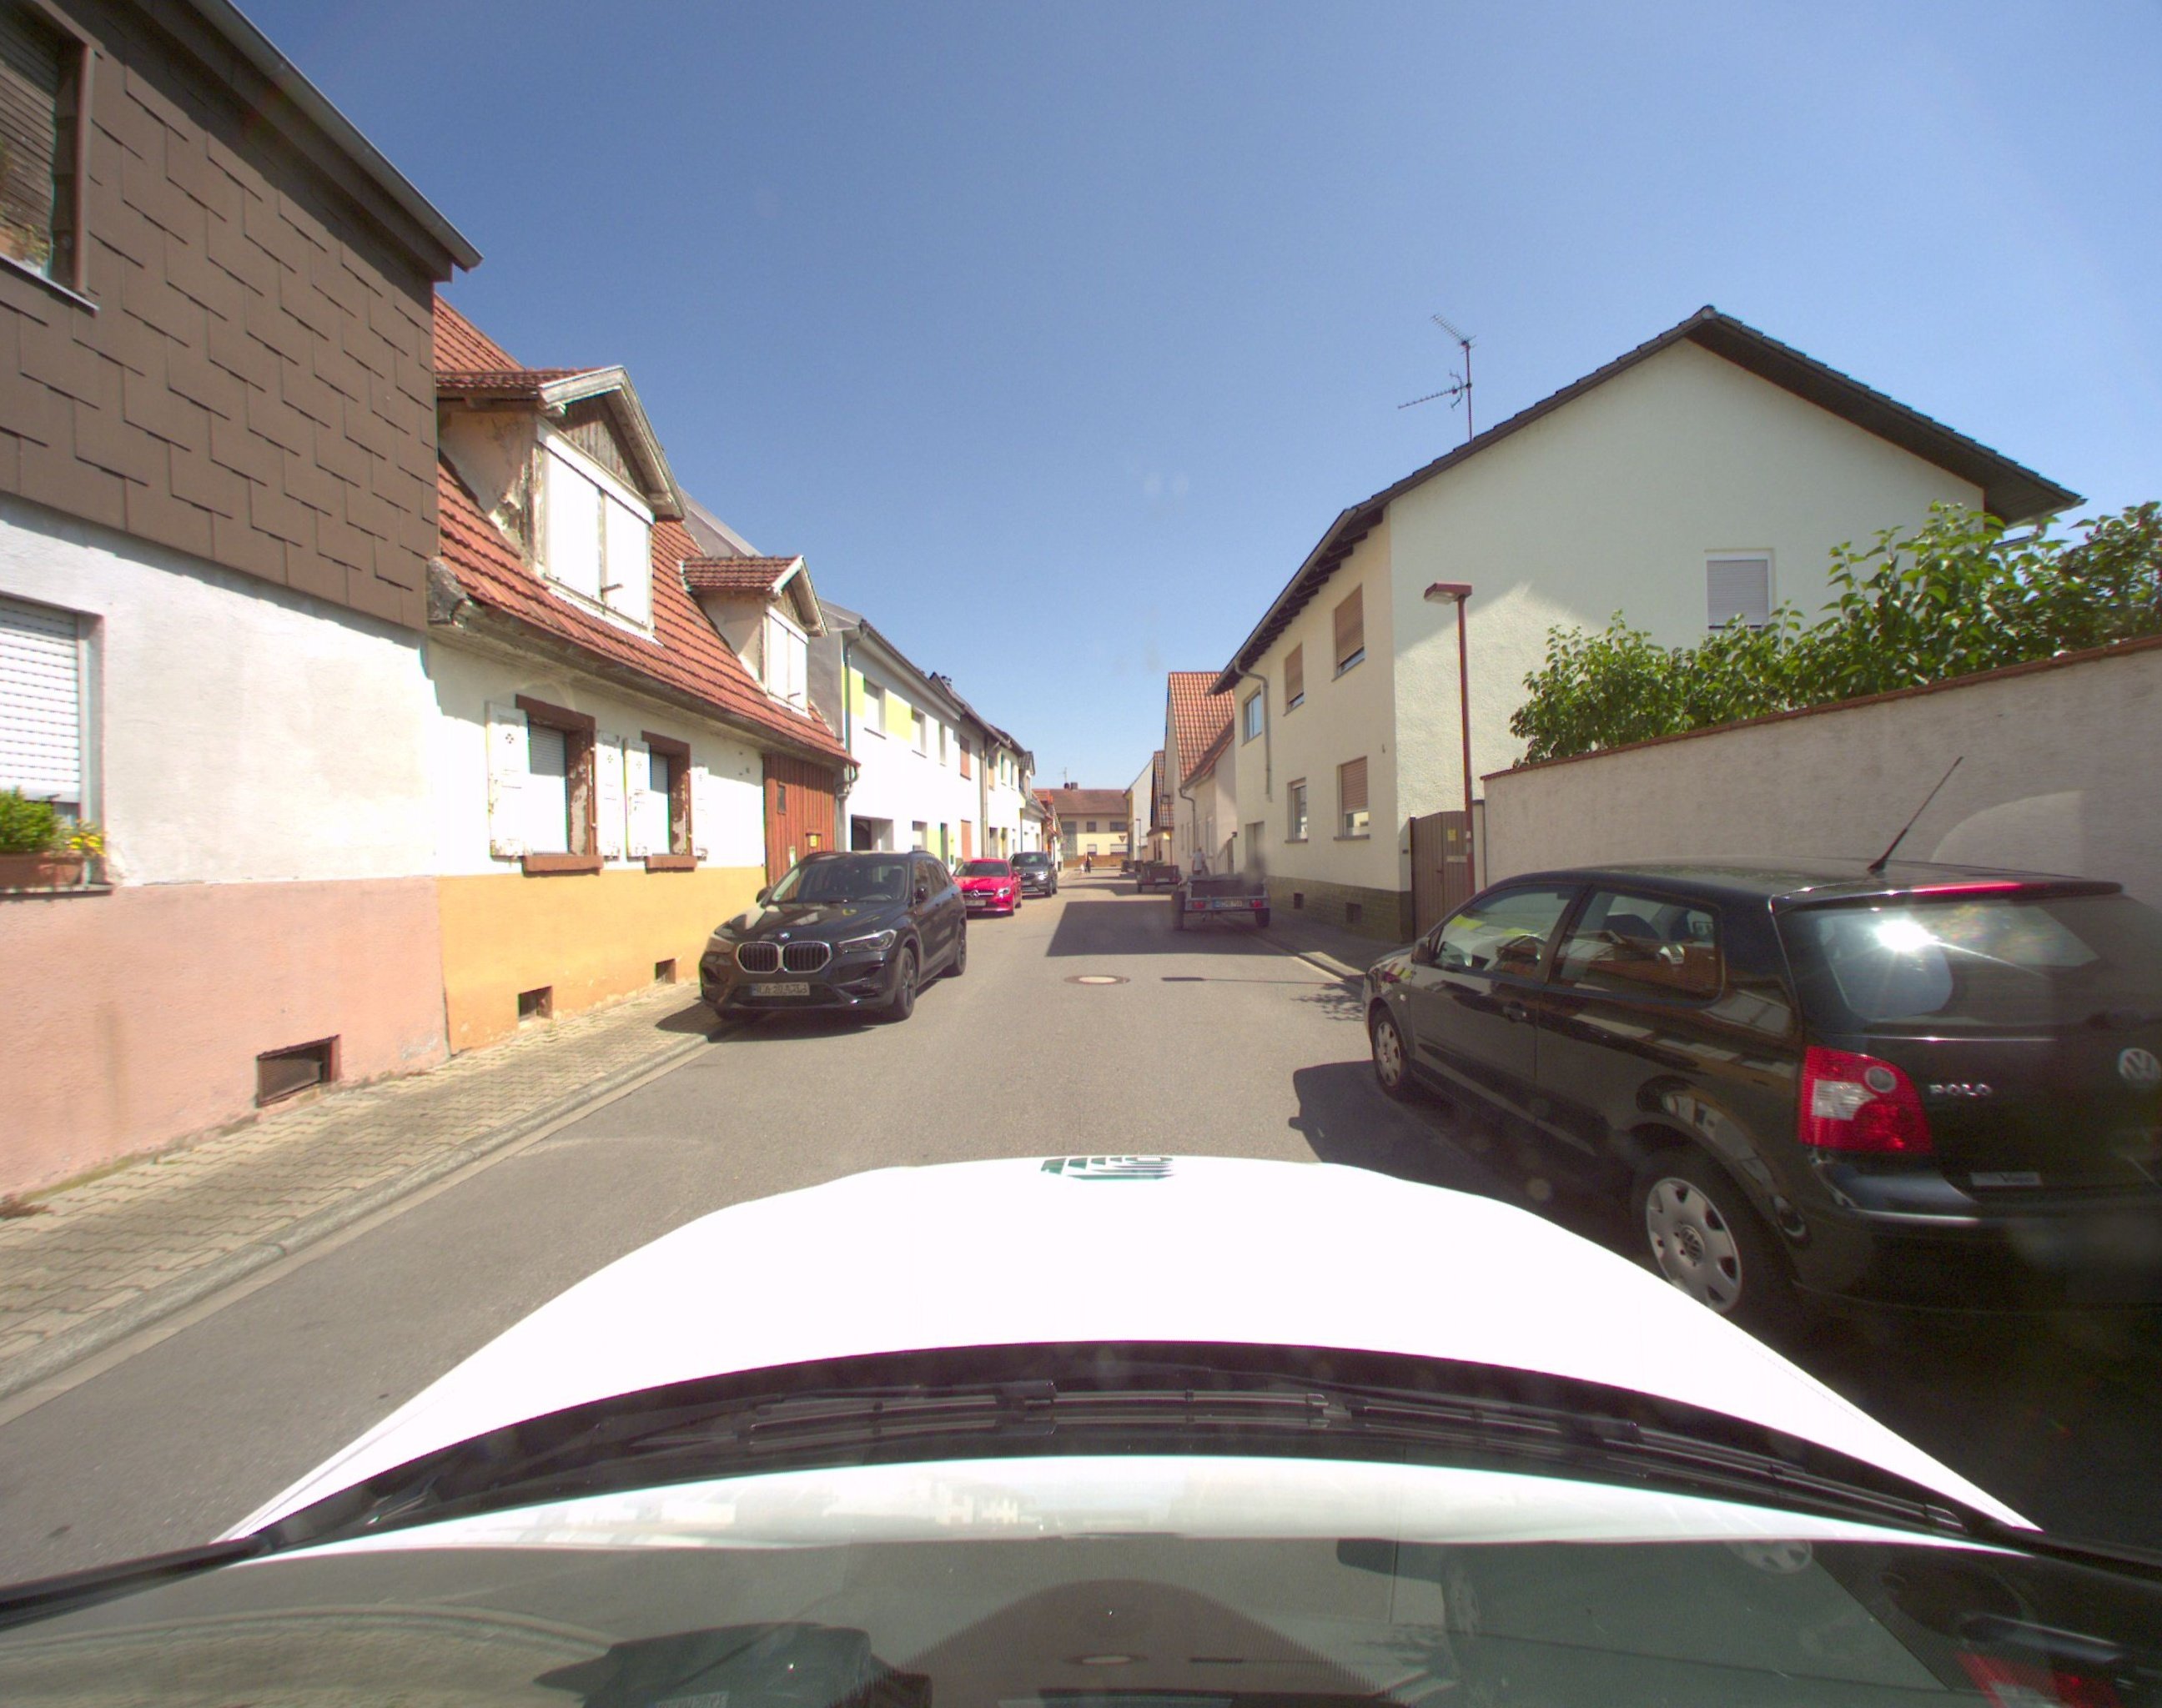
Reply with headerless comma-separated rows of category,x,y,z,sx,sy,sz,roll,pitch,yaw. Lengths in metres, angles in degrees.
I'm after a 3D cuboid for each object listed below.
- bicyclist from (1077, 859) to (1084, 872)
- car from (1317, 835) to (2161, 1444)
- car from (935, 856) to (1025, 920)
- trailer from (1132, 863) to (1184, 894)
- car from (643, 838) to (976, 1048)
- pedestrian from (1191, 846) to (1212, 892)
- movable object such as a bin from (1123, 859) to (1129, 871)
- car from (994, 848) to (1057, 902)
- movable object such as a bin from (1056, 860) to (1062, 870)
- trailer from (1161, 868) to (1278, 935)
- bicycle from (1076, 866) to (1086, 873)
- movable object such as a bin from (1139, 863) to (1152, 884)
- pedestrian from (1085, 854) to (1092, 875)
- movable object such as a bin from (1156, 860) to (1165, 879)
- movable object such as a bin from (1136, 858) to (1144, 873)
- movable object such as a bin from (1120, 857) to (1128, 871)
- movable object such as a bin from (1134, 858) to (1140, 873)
bicyclist,-0.037,0.895,63.464,0.464,0.959,0.349,-1,-2,-28
car,2.647,0.689,4.064,1.644,1.436,4.132,-2,0,-1
car,-2.542,0.813,21.446,1.794,1.441,4.486,-2,0,0
trailer,2.851,0.887,30.875,1.693,1.033,3.482,-1,0,1
car,-2.431,0.710,8.690,1.793,1.574,4.617,-2,0,2
pedestrian,4.201,0.522,28.356,0.594,1.565,0.556,-1,-4,-1
movable object such as a bin,3.688,0.897,66.051,0.422,0.975,0.473,-2,-1,-2
car,-1.894,0.696,29.275,1.793,1.704,4.488,-3,0,1
movable object such as a bin,-1.942,0.972,72.107,0.447,0.921,0.404,-2,-1,-2
trailer,2.629,0.873,16.176,1.810,1.090,3.482,-1,0,2
bicycle,-0.008,1.196,63.452,0.443,0.567,0.931,-1,0,-28
movable object such as a bin,3.269,0.966,41.138,0.583,1.033,0.595,-2,-1,0
pedestrian,0.589,0.841,64.267,0.411,1.610,0.367,-2,-1,-9
movable object such as a bin,4.666,0.929,47.597,0.456,1.087,0.502,-2,-1,0
movable object such as a bin,4.556,0.913,62.915,0.524,1.128,0.366,-2,-1,-2
movable object such as a bin,3.492,0.820,66.661,0.567,1.128,0.453,-2,-1,-2
movable object such as a bin,4.468,0.929,65.482,0.424,1.128,0.413,-2,-1,-2
